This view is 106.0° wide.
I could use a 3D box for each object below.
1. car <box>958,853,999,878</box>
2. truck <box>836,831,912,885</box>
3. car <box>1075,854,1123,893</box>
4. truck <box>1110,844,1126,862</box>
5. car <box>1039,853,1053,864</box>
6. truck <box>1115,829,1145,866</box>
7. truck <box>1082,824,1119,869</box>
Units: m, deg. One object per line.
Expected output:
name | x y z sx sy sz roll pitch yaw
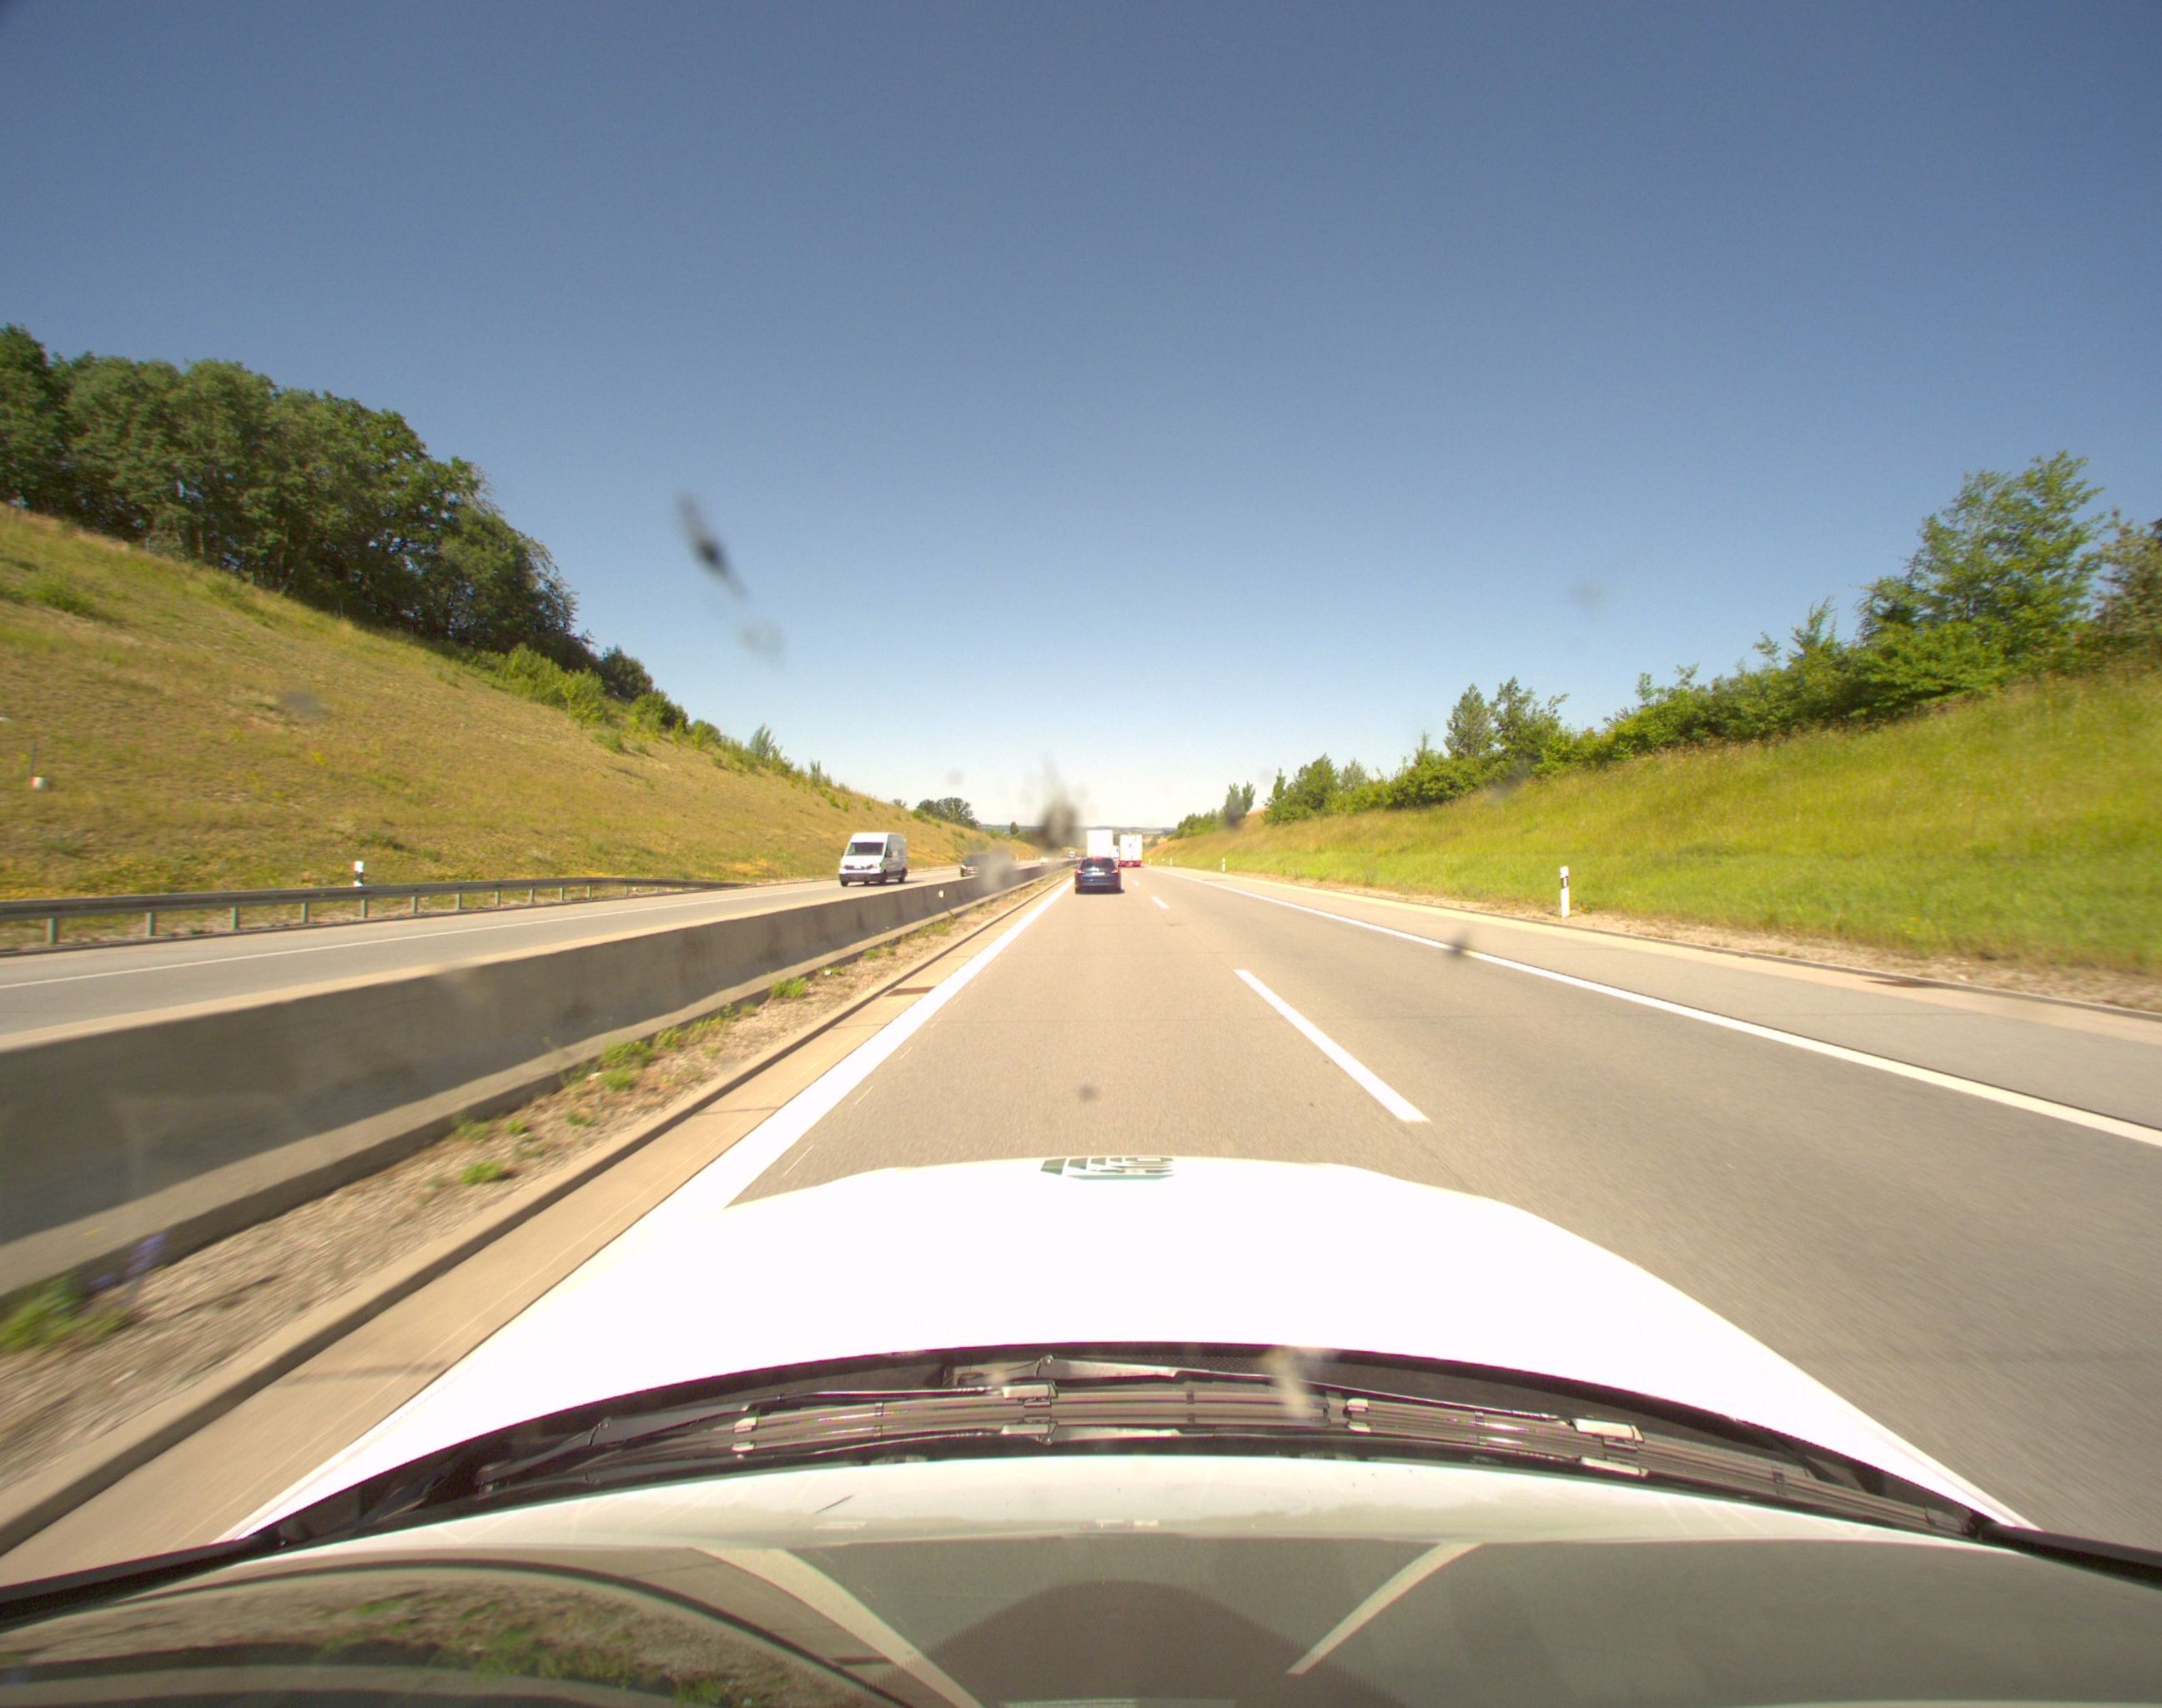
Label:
car | -6.154 0.659 49.287 1.847 1.461 4.334 0 0 1
truck | -9.991 0.159 39.788 2.105 2.460 5.952 0 0 1
car | 0.673 0.732 32.403 1.771 1.441 3.789 -1 0 0
truck | 9.481 -0.307 206.564 3.588 4.381 11.246 0 0 4
car | -5.136 0.627 120.373 1.769 1.601 4.040 0 0 1
truck | 6.292 -0.811 103.031 3.588 4.381 11.246 0 0 4
truck | 2.105 -0.743 84.160 3.196 4.381 11.247 0 0 4
